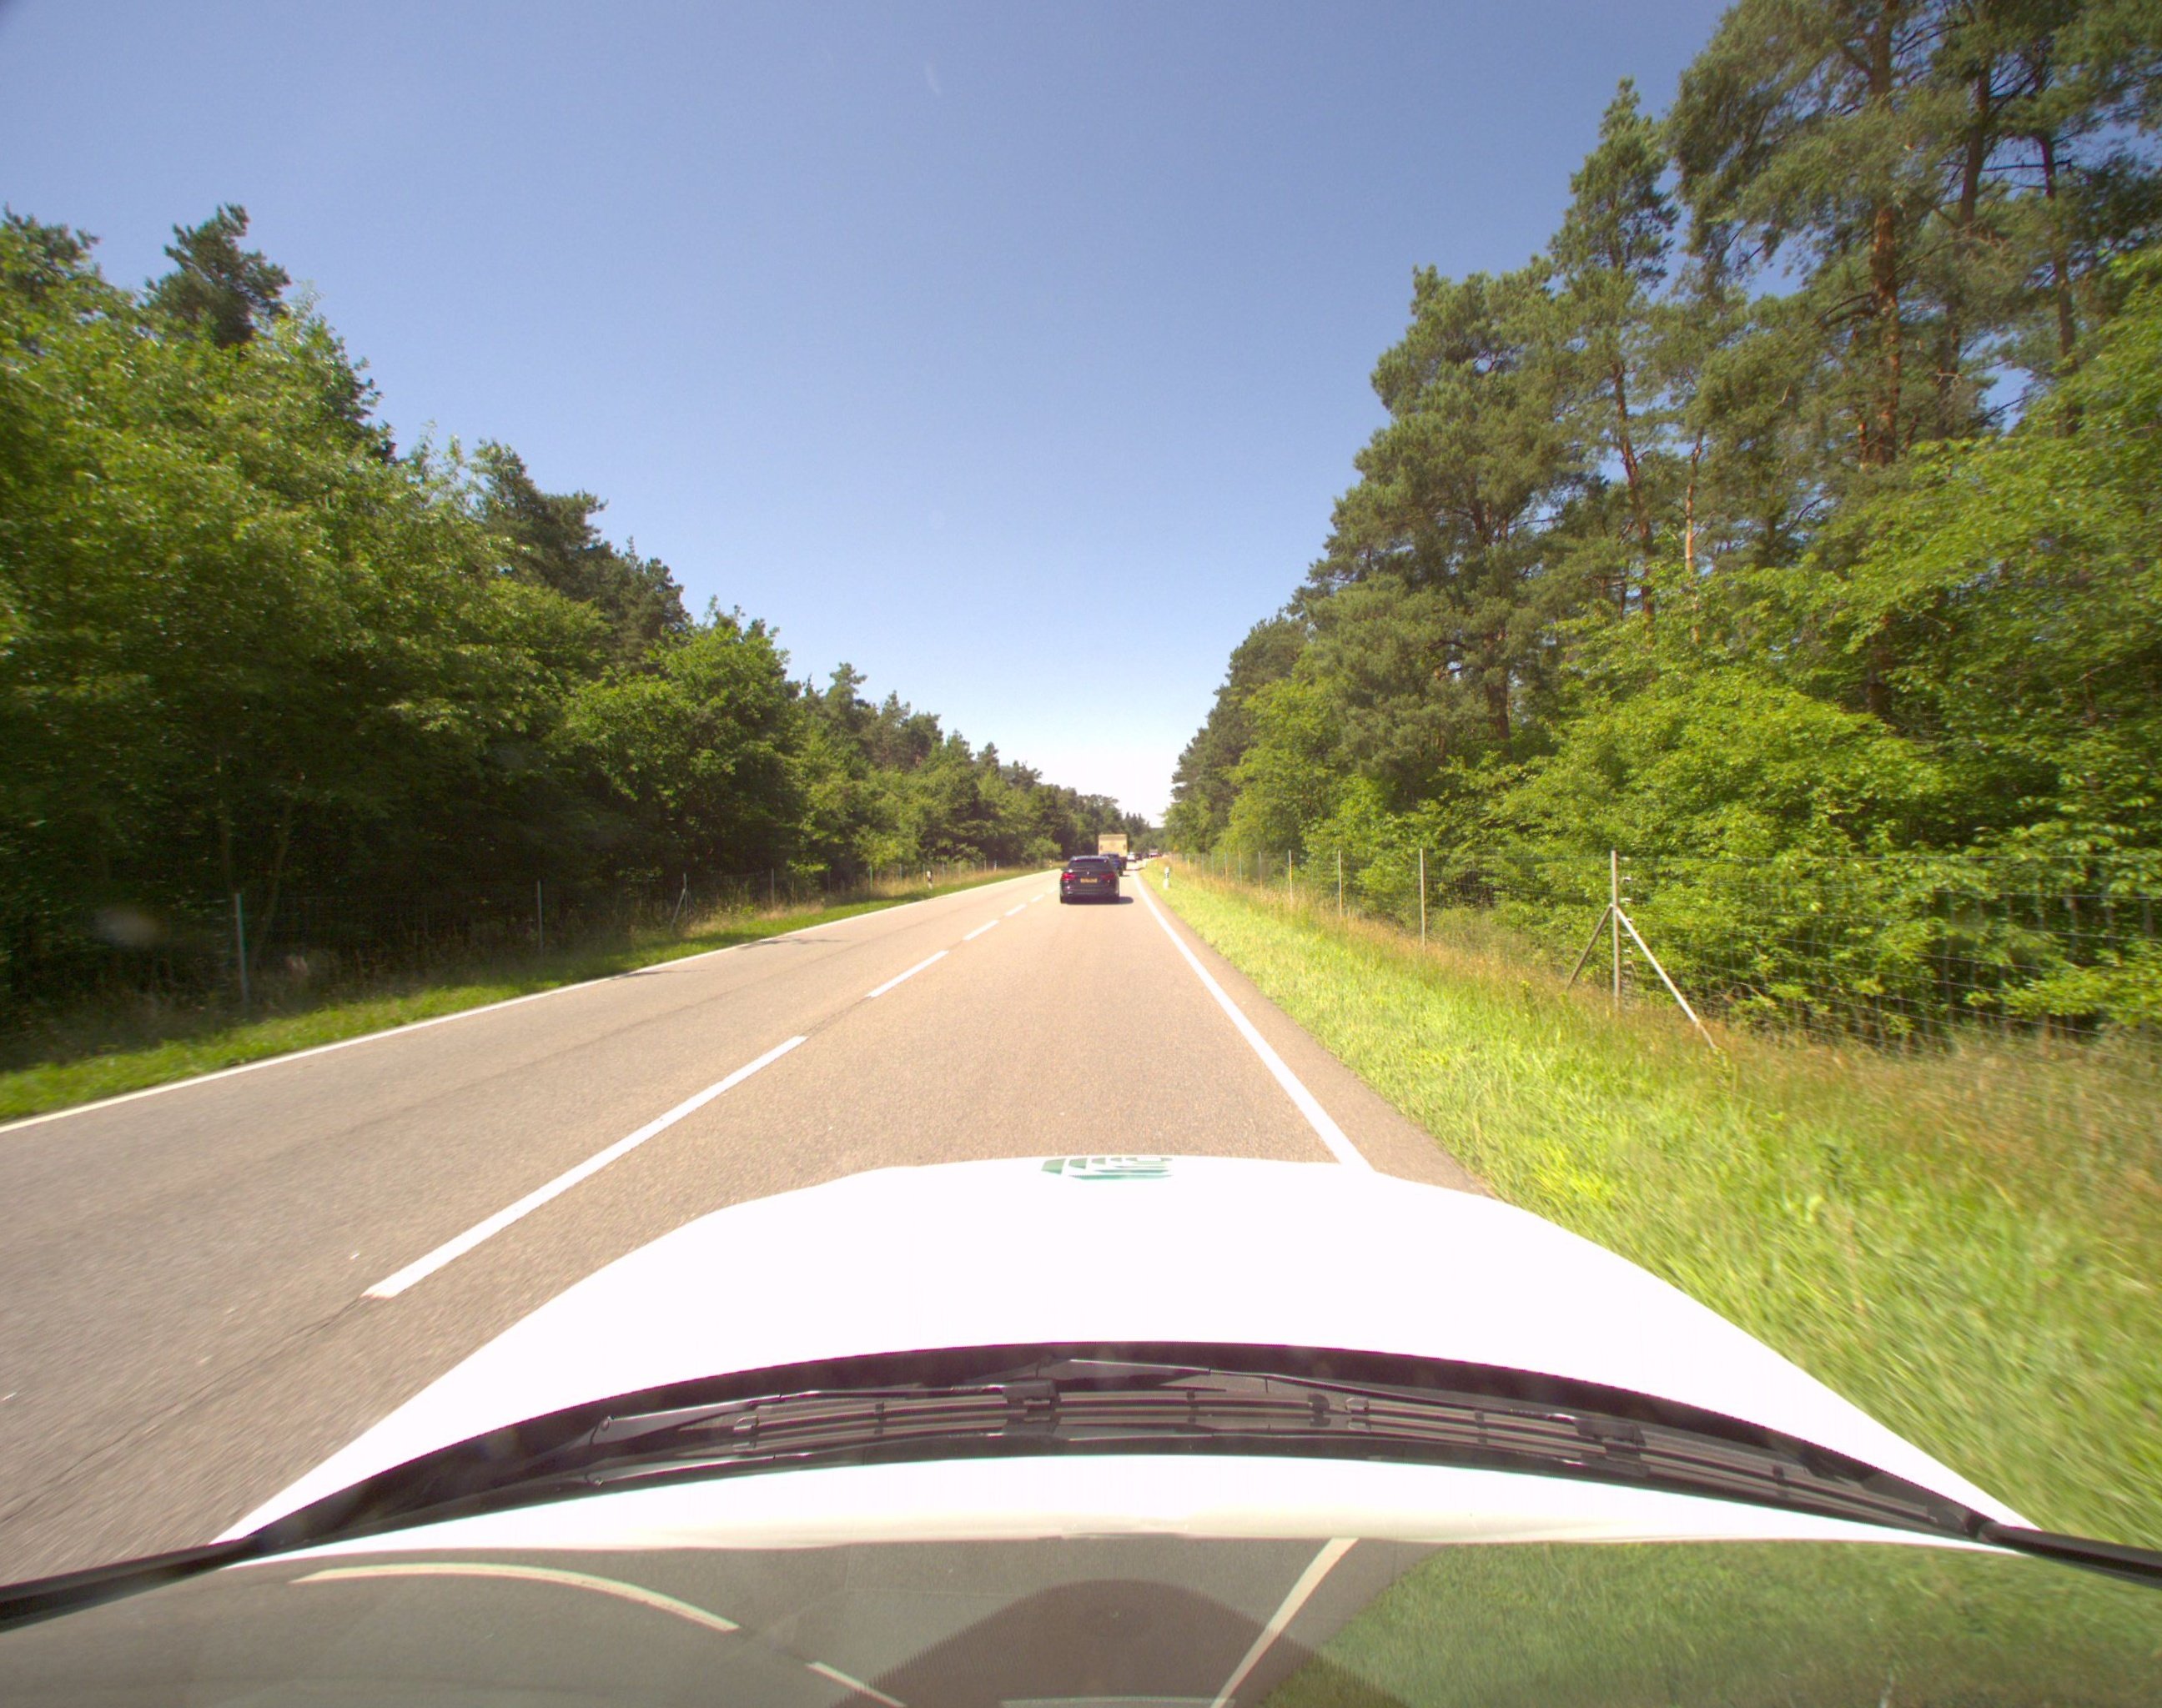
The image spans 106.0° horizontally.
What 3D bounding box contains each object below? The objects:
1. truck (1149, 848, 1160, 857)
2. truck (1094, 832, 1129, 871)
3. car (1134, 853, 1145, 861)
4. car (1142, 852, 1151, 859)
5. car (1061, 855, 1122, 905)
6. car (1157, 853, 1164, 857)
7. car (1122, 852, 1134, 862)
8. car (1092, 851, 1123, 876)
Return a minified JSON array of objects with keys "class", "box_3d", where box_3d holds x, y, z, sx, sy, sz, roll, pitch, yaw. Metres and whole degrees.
[{"class":"truck","box_3d":[19.562,-0.474,217.258,2.549,2.202,4.985,-2,0,8]},{"class":"truck","box_3d":[2.715,-0.210,75.171,2.956,3.387,6.438,-2,0,0]},{"class":"car","box_3d":[11.520,0.621,159.575,1.986,1.420,4.002,-1,0,2]},{"class":"car","box_3d":[15.505,0.292,193.797,1.984,1.636,4.006,-3,0,5]},{"class":"car","box_3d":[0.311,0.772,26.280,1.815,1.470,3.999,0,0,0]},{"class":"car","box_3d":[24.330,0.280,249.624,1.784,1.354,3.937,-2,0,8]},{"class":"car","box_3d":[7.480,0.465,130.130,1.856,1.605,4.002,-2,0,2]},{"class":"car","box_3d":[1.820,0.639,56.049,1.940,1.541,4.002,-3,0,2]}]
